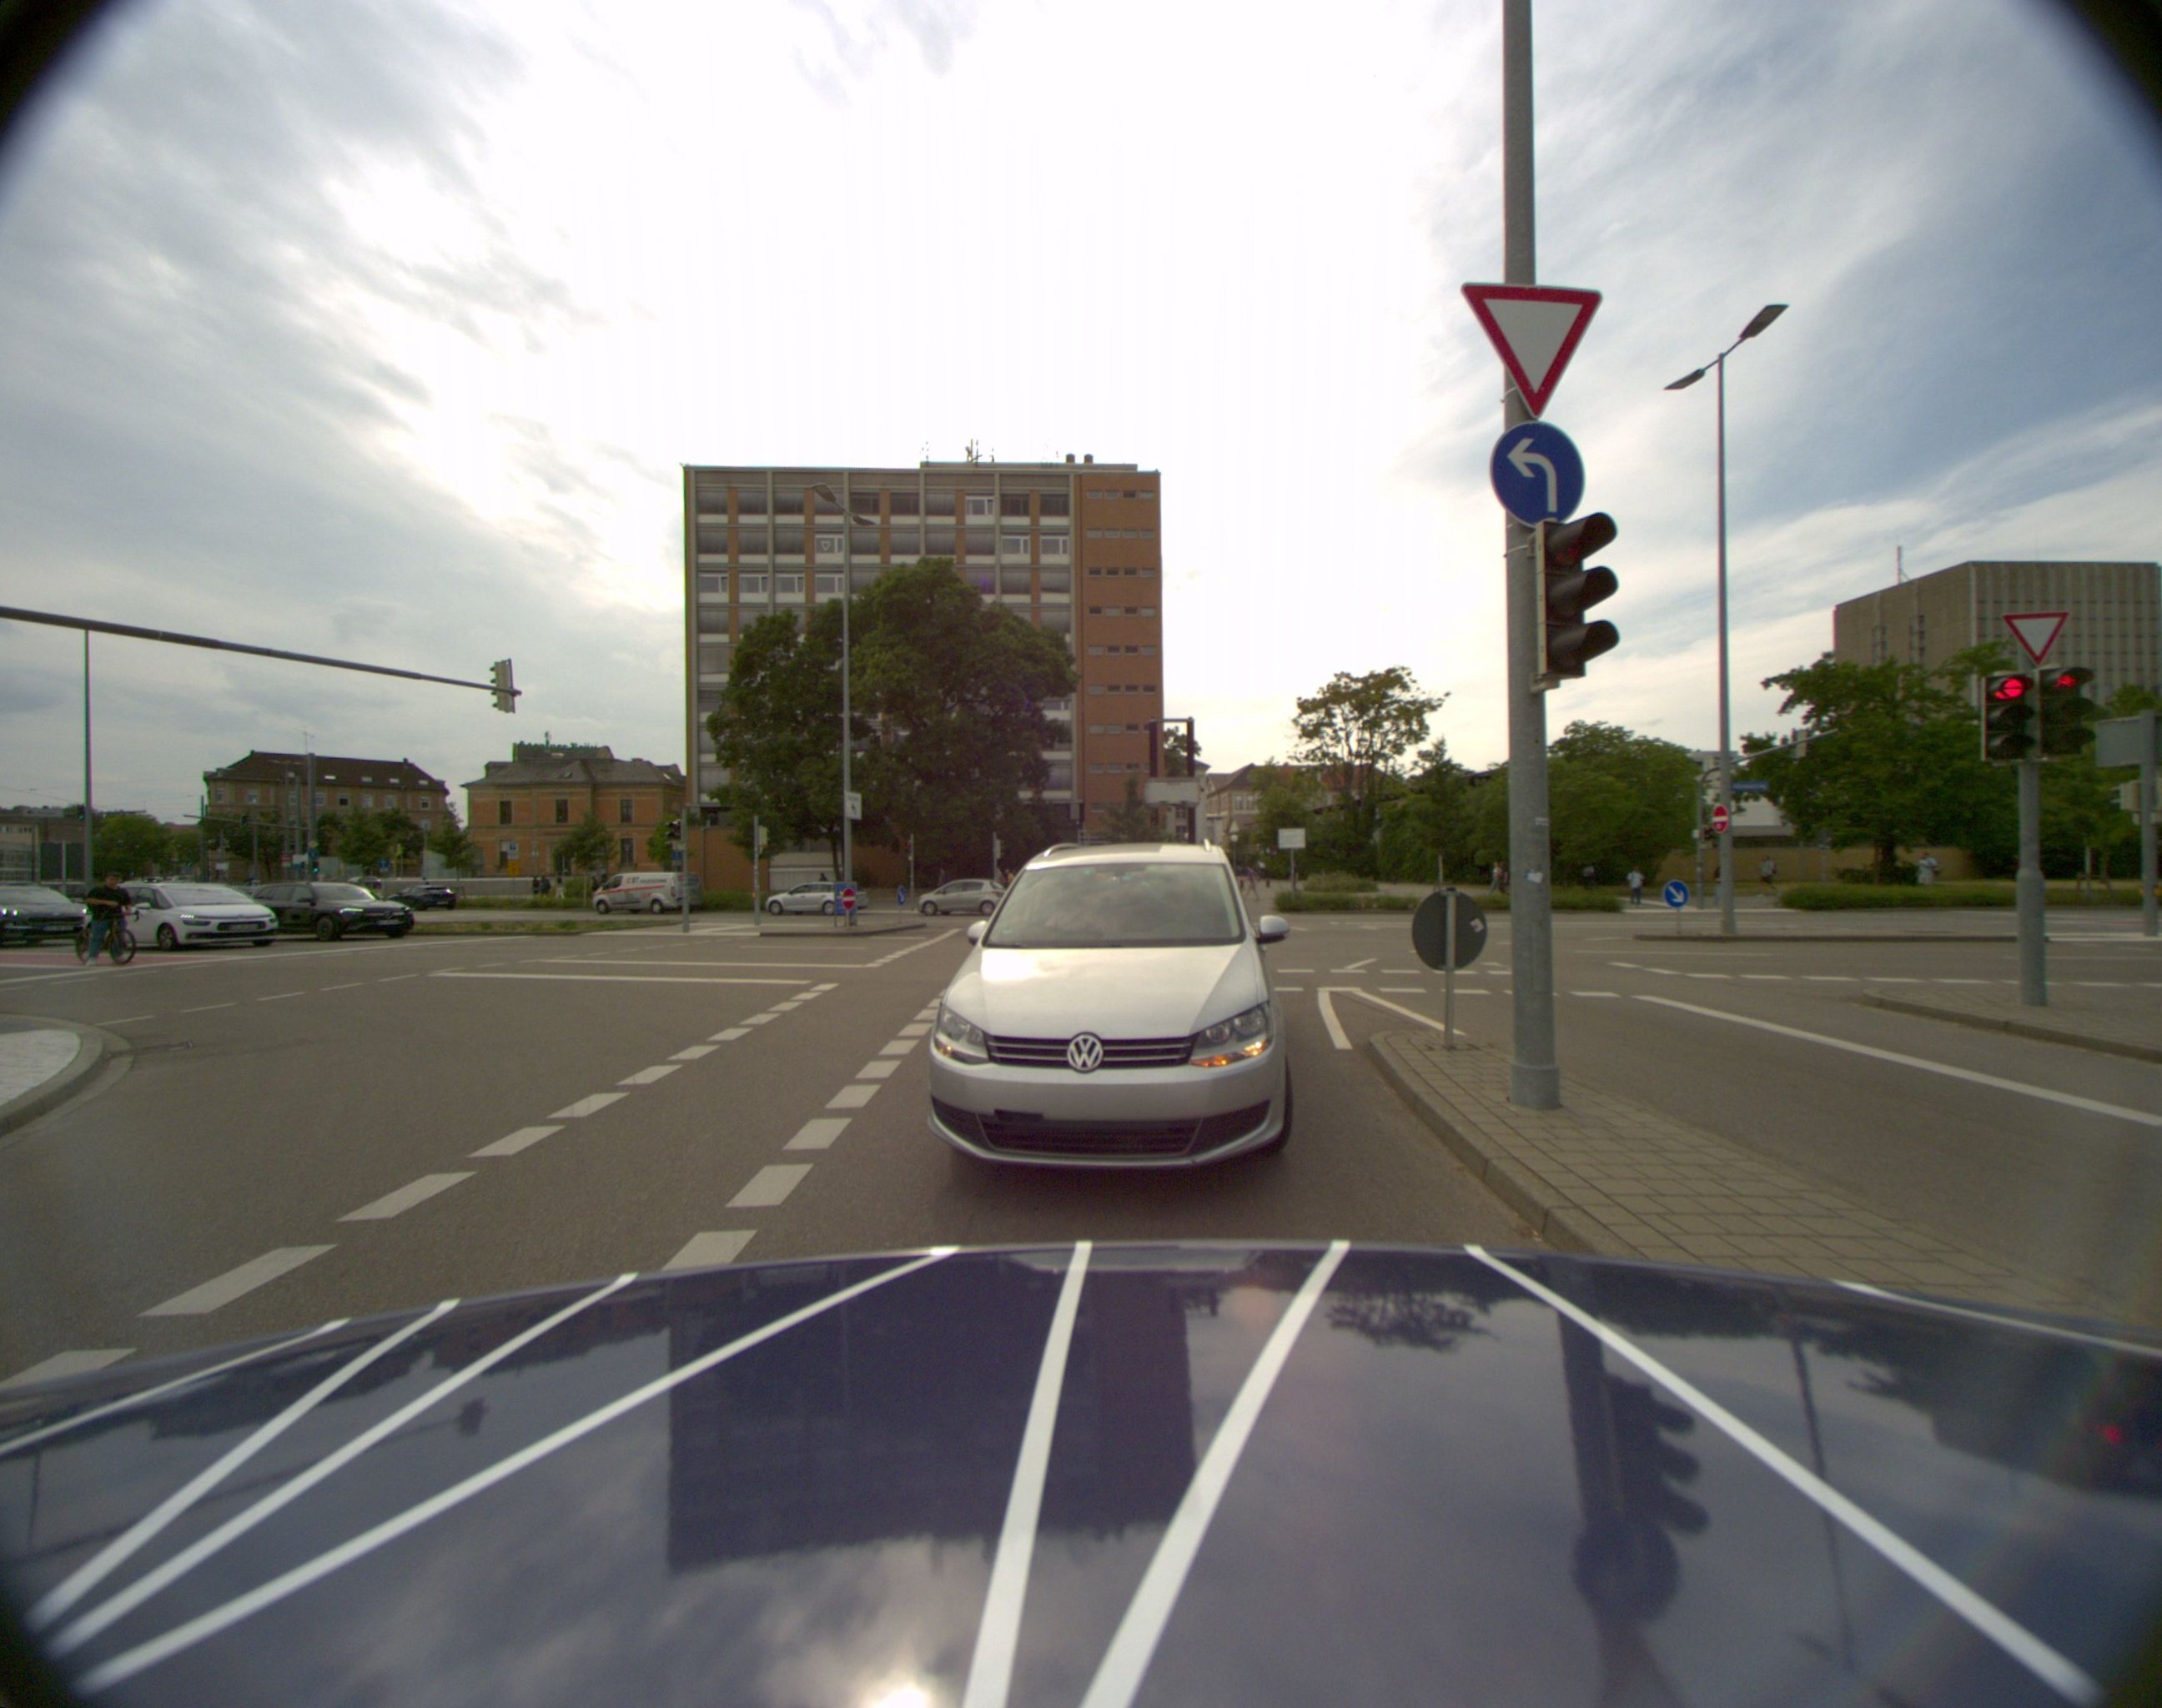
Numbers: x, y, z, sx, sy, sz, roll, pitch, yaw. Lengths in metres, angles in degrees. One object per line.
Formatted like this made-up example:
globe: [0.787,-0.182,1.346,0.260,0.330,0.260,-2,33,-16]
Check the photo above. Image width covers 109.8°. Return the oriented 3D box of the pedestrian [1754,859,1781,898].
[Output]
pedestrian: [29.810,1.055,32.997,0.694,1.686,0.544,-1,2,-1]

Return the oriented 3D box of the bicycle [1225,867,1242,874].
bicycle: [16.693,1.844,83.231,1.842,0.689,0.653,-1,-2,10]

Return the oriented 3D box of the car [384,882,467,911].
car: [-36.810,2.369,42.648,3.993,1.523,1.867,-2,-2,21]

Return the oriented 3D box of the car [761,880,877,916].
car: [-11.397,1.921,33.153,4.520,1.465,1.828,-2,-2,14]

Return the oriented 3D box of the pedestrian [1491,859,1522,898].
pedestrian: [18.815,1.079,33.622,0.800,1.700,0.839,-1,-2,-13]

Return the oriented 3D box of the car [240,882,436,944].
car: [-21.049,1.647,21.562,4.503,1.640,2.003,-2,-2,16]

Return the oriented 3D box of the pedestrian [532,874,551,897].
pedestrian: [-38.431,2.236,54.167,0.810,1.565,0.782,-1,1,28]

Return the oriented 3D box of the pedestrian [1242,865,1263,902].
pedestrian: [8.035,1.382,35.570,0.799,1.700,0.840,-1,-2,5]

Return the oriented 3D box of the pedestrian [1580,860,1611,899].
pedestrian: [22.897,1.120,33.824,0.799,1.700,0.715,-1,-2,-1]

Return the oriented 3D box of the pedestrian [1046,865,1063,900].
pedestrian: [-1.324,1.431,38.019,0.707,1.701,0.640,-1,2,5]

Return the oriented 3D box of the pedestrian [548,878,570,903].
pedestrian: [-33.279,2.339,48.450,0.810,1.565,0.782,-1,1,28]

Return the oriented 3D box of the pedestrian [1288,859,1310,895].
pedestrian: [10.354,1.087,36.073,0.799,1.700,0.840,-1,-2,5]

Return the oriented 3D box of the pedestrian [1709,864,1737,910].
pedestrian: [24.142,1.243,28.564,0.587,1.700,0.481,-1,-2,7]

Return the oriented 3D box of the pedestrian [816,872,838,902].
pedestrian: [-13.957,1.809,41.752,0.811,1.565,0.780,-1,1,5]

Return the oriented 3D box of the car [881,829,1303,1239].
car: [0.292,0.864,5.568,1.823,1.723,4.533,-1,-2,7]

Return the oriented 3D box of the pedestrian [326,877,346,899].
pedestrian: [-54.085,2.476,55.167,0.810,1.565,0.782,-1,1,28]

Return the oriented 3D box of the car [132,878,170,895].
car: [-91.646,3.207,74.867,3.537,1.605,1.844,-2,-3,30]

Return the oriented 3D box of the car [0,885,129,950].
car: [-28.965,1.713,20.878,4.282,1.640,2.003,-2,-2,16]

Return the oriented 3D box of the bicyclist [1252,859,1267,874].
bicyclist: [15.553,1.113,66.113,1.015,1.269,0.837,1,-3,-41]

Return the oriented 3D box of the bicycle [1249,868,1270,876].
bicycle: [15.524,1.566,66.068,1.849,0.689,0.841,1,-3,-41]

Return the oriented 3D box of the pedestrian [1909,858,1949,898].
pedestrian: [36.118,1.032,32.371,0.694,1.700,0.842,-1,-2,-1]

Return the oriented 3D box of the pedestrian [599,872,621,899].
pedestrian: [-28.233,1.880,45.547,0.810,1.565,0.781,-1,1,24]

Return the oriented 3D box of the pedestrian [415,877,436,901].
pedestrian: [-44.171,2.325,51.170,0.810,1.565,0.782,-1,1,28]

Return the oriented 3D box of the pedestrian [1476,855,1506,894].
pedestrian: [18.584,0.939,34.479,0.800,1.700,0.839,-1,-2,-13]

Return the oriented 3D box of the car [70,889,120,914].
car: [-83.598,4.007,64.422,3.990,2.001,2.004,-2,-2,29]

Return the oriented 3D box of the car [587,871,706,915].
car: [-20.596,1.845,36.062,5.194,1.947,1.828,-2,-2,17]

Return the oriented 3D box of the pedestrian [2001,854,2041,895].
pedestrian: [39.637,0.856,32.034,0.694,1.700,0.715,-1,-2,2]

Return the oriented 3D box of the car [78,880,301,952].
car: [-22.142,1.508,18.918,4.282,1.640,2.003,-2,-2,16]

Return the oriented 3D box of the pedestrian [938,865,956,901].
pedestrian: [-6.958,1.502,39.481,0.707,1.841,0.640,-1,0,5]

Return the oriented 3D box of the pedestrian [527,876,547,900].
pedestrian: [-37.194,2.315,51.948,0.810,1.565,0.782,-1,1,28]

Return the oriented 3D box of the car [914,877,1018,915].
car: [-4.750,1.750,31.466,3.868,1.480,1.674,-2,-2,14]

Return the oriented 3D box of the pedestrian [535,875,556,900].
pedestrian: [-34.517,2.133,48.957,0.810,1.565,0.782,-1,1,28]

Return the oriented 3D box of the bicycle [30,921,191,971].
bicycle: [-18.802,1.771,14.736,2.515,0.871,0.866,-1,-2,11]

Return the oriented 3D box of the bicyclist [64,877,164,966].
bicyclist: [-18.720,1.293,14.732,0.879,1.658,0.871,-1,-2,11]

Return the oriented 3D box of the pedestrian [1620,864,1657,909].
pedestrian: [21.726,1.276,29.610,0.838,1.700,0.800,-1,-2,7]

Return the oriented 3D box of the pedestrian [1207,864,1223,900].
pedestrian: [6.411,1.354,36.370,0.633,1.700,0.674,-1,-2,5]

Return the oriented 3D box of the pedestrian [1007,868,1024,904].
pedestrian: [-3.211,1.559,37.182,0.707,1.701,0.640,-1,1,5]

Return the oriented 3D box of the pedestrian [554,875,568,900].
pedestrian: [-33.131,2.113,48.409,0.550,1.528,0.548,-2,1,-18]

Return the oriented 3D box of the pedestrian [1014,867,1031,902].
pedestrian: [-2.930,1.510,37.927,0.707,1.700,0.640,-1,-2,5]

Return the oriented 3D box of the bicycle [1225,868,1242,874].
bicycle: [17.078,1.914,85.047,1.842,0.689,0.653,-1,-2,10]

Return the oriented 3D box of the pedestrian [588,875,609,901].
pedestrian: [-30.075,2.117,47.378,0.810,1.565,0.782,-1,1,28]

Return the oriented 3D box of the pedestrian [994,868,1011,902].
pedestrian: [-4.010,1.577,38.890,0.707,1.701,0.640,-1,0,5]
